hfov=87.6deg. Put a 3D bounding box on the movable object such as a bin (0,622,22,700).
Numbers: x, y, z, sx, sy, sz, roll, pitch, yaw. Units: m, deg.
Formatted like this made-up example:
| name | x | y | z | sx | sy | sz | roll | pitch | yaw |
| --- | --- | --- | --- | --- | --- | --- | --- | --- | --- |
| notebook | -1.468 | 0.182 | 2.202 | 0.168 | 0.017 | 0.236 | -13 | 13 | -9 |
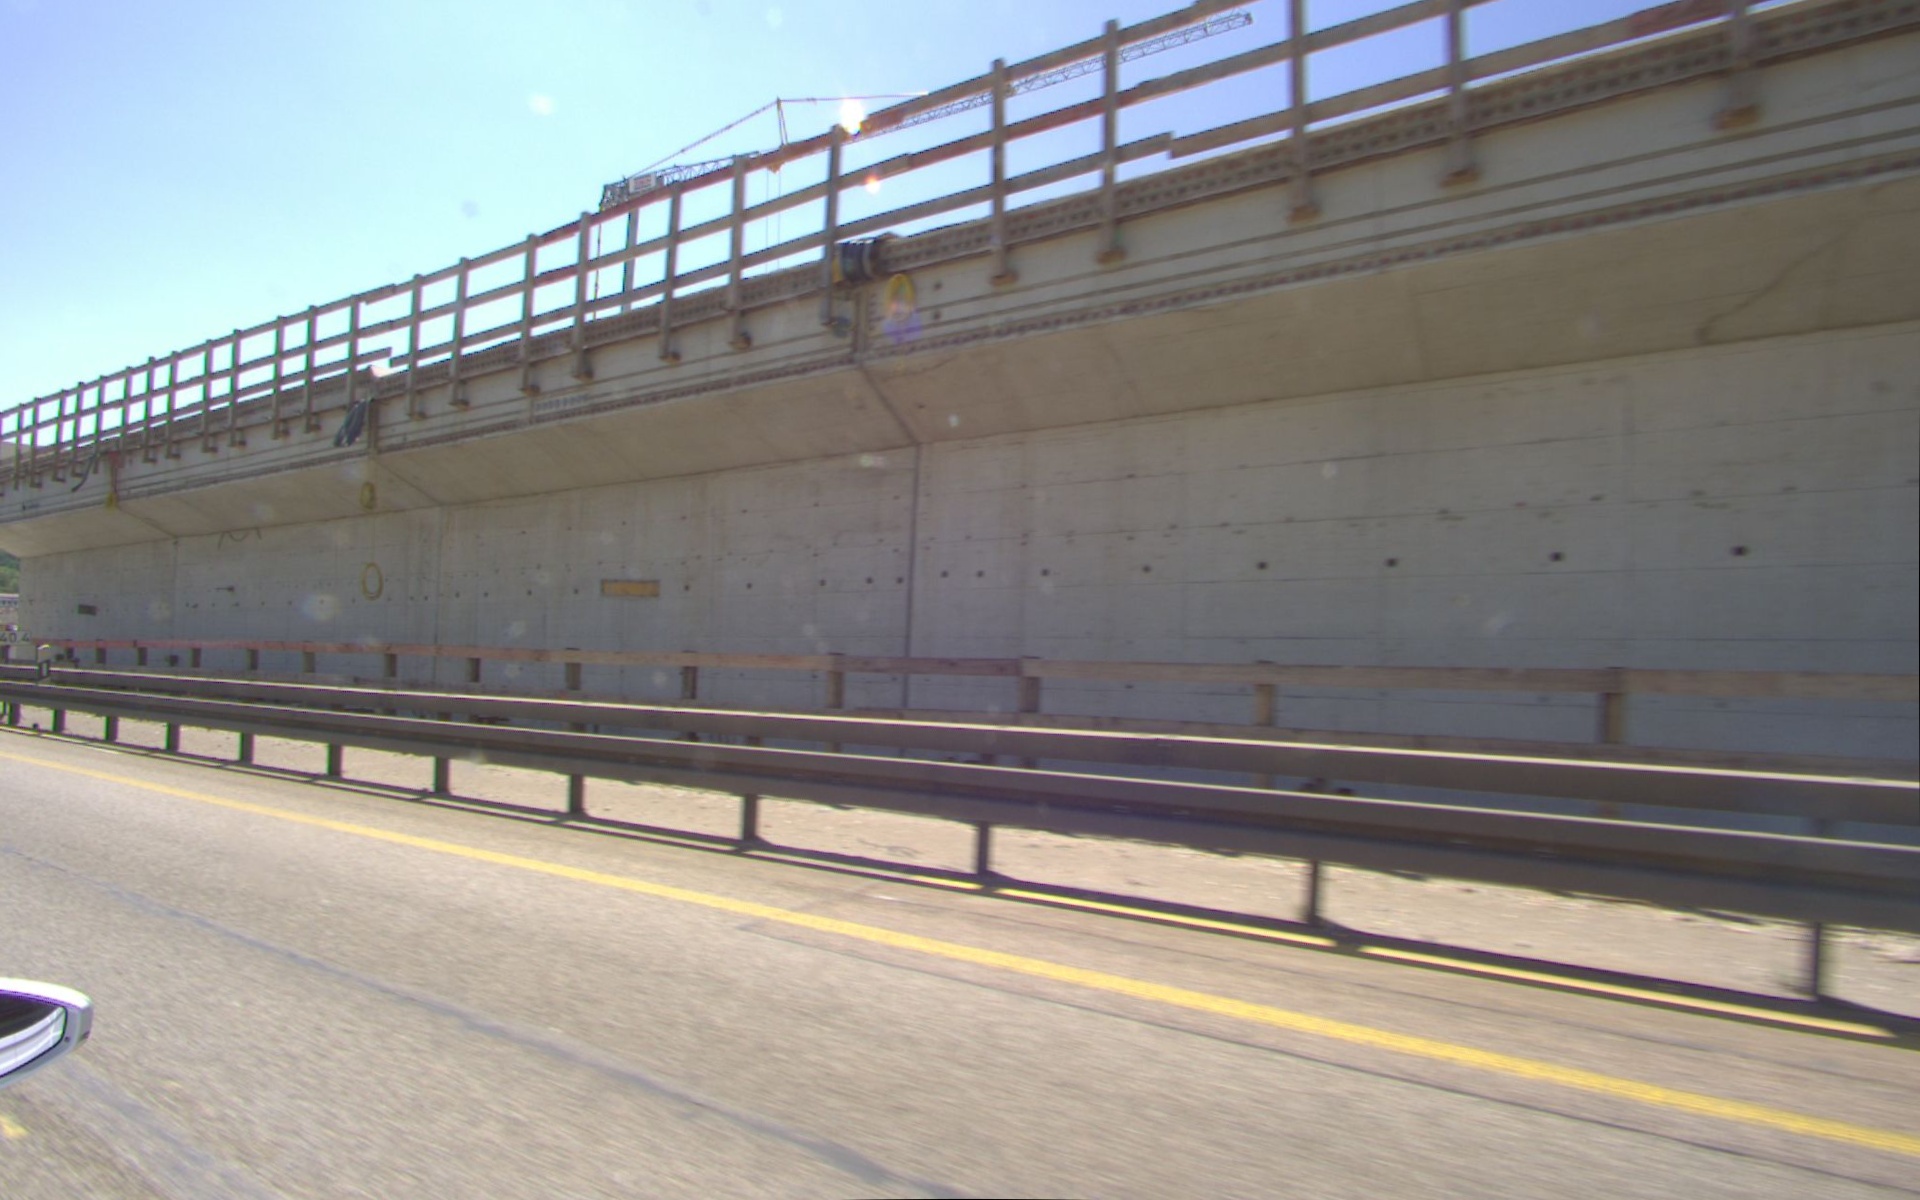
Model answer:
| name | x | y | z | sx | sy | sz | roll | pitch | yaw |
| --- | --- | --- | --- | --- | --- | --- | --- | --- | --- |
| movable object such as a bin | -63.486 | 3.852 | 63.720 | 9.518 | 4.802 | 3.222 | -2 | -2 | 32 |
